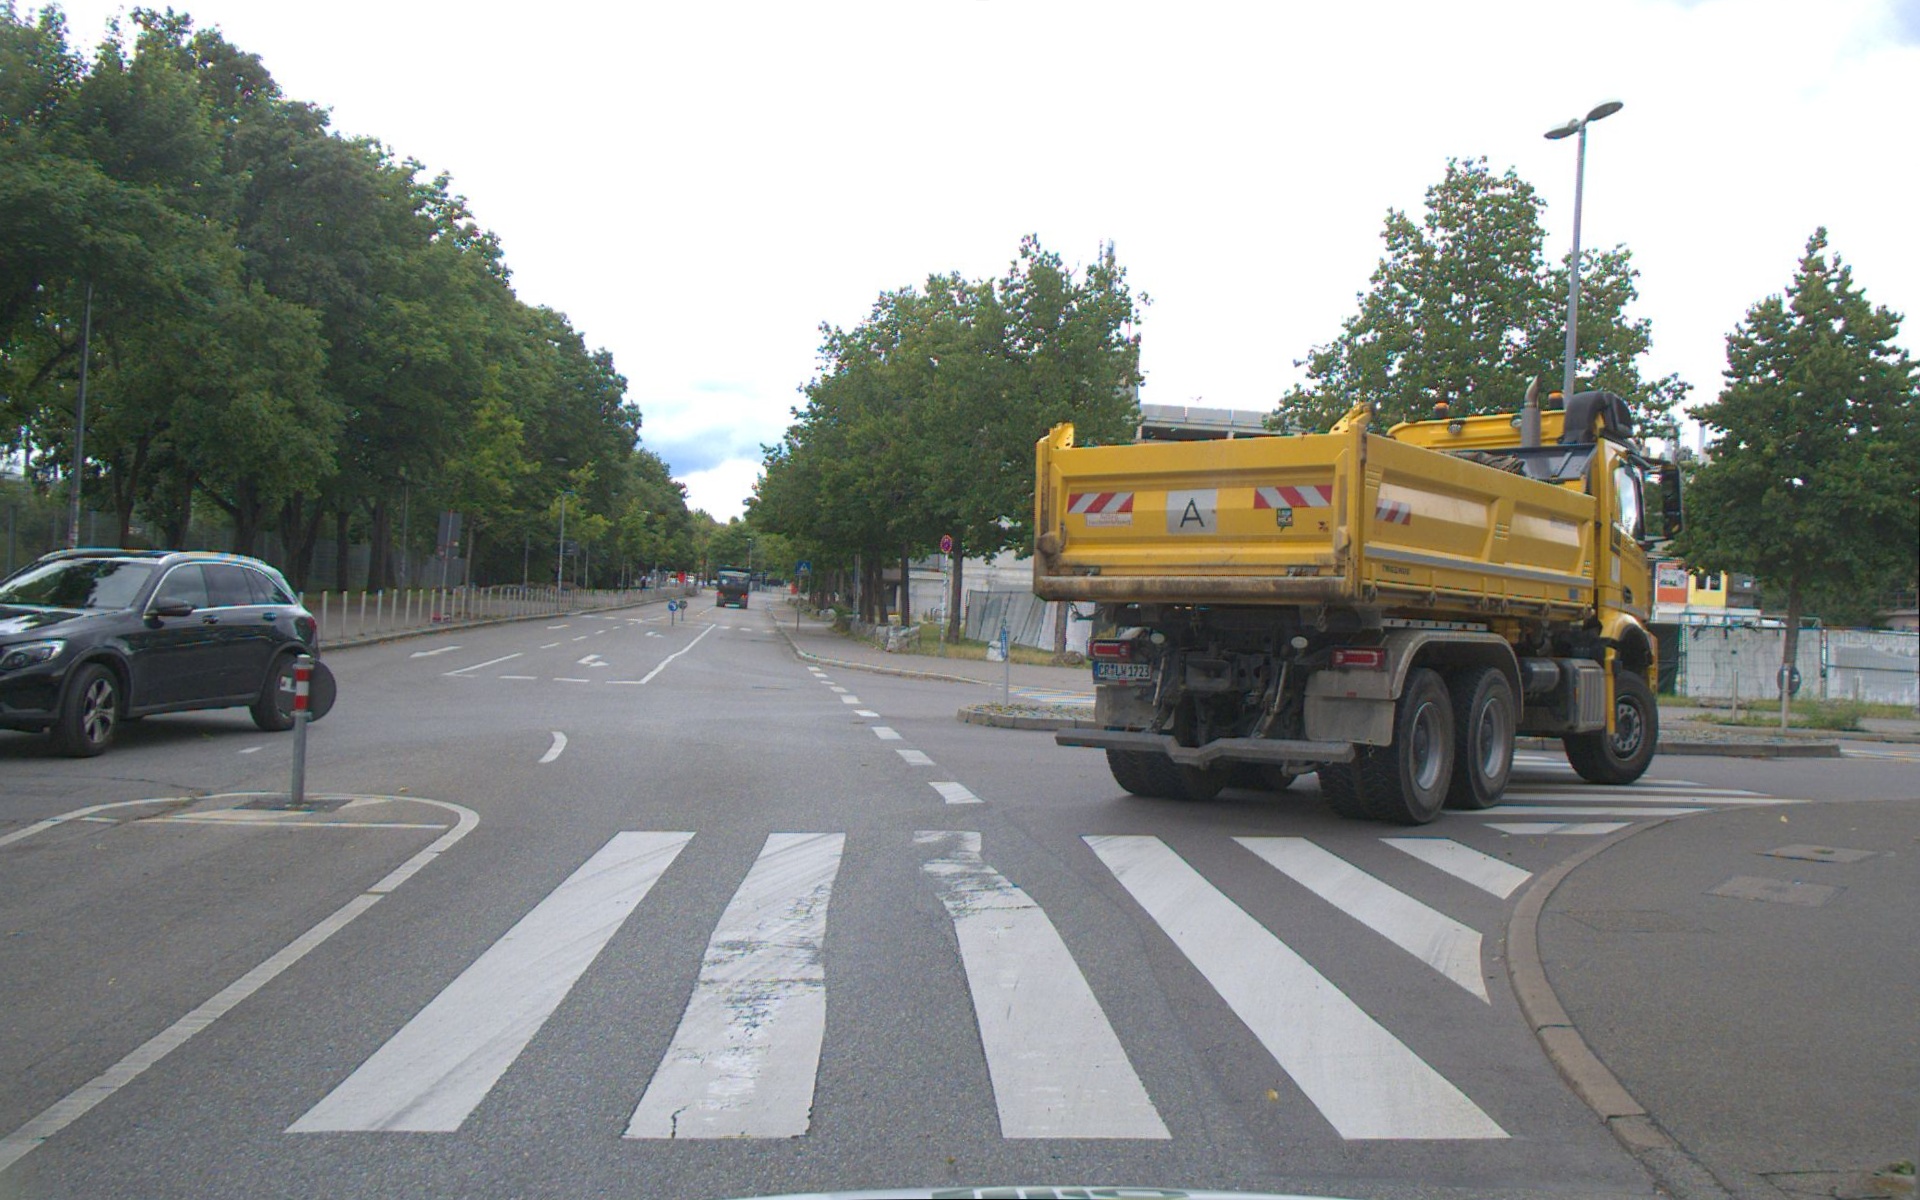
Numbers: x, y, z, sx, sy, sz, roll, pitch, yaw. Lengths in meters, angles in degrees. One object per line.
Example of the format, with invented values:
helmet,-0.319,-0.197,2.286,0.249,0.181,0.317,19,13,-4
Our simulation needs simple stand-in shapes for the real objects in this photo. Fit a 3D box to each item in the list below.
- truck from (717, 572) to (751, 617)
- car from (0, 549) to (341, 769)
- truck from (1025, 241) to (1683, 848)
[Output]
truck,-18.555,-0.416,135.669,2.623,3.621,7.908,0,0,-8
car,-7.459,0.395,14.485,1.800,1.601,4.553,2,0,8
truck,3.859,-0.328,14.242,2.712,3.763,7.849,-1,-1,36
